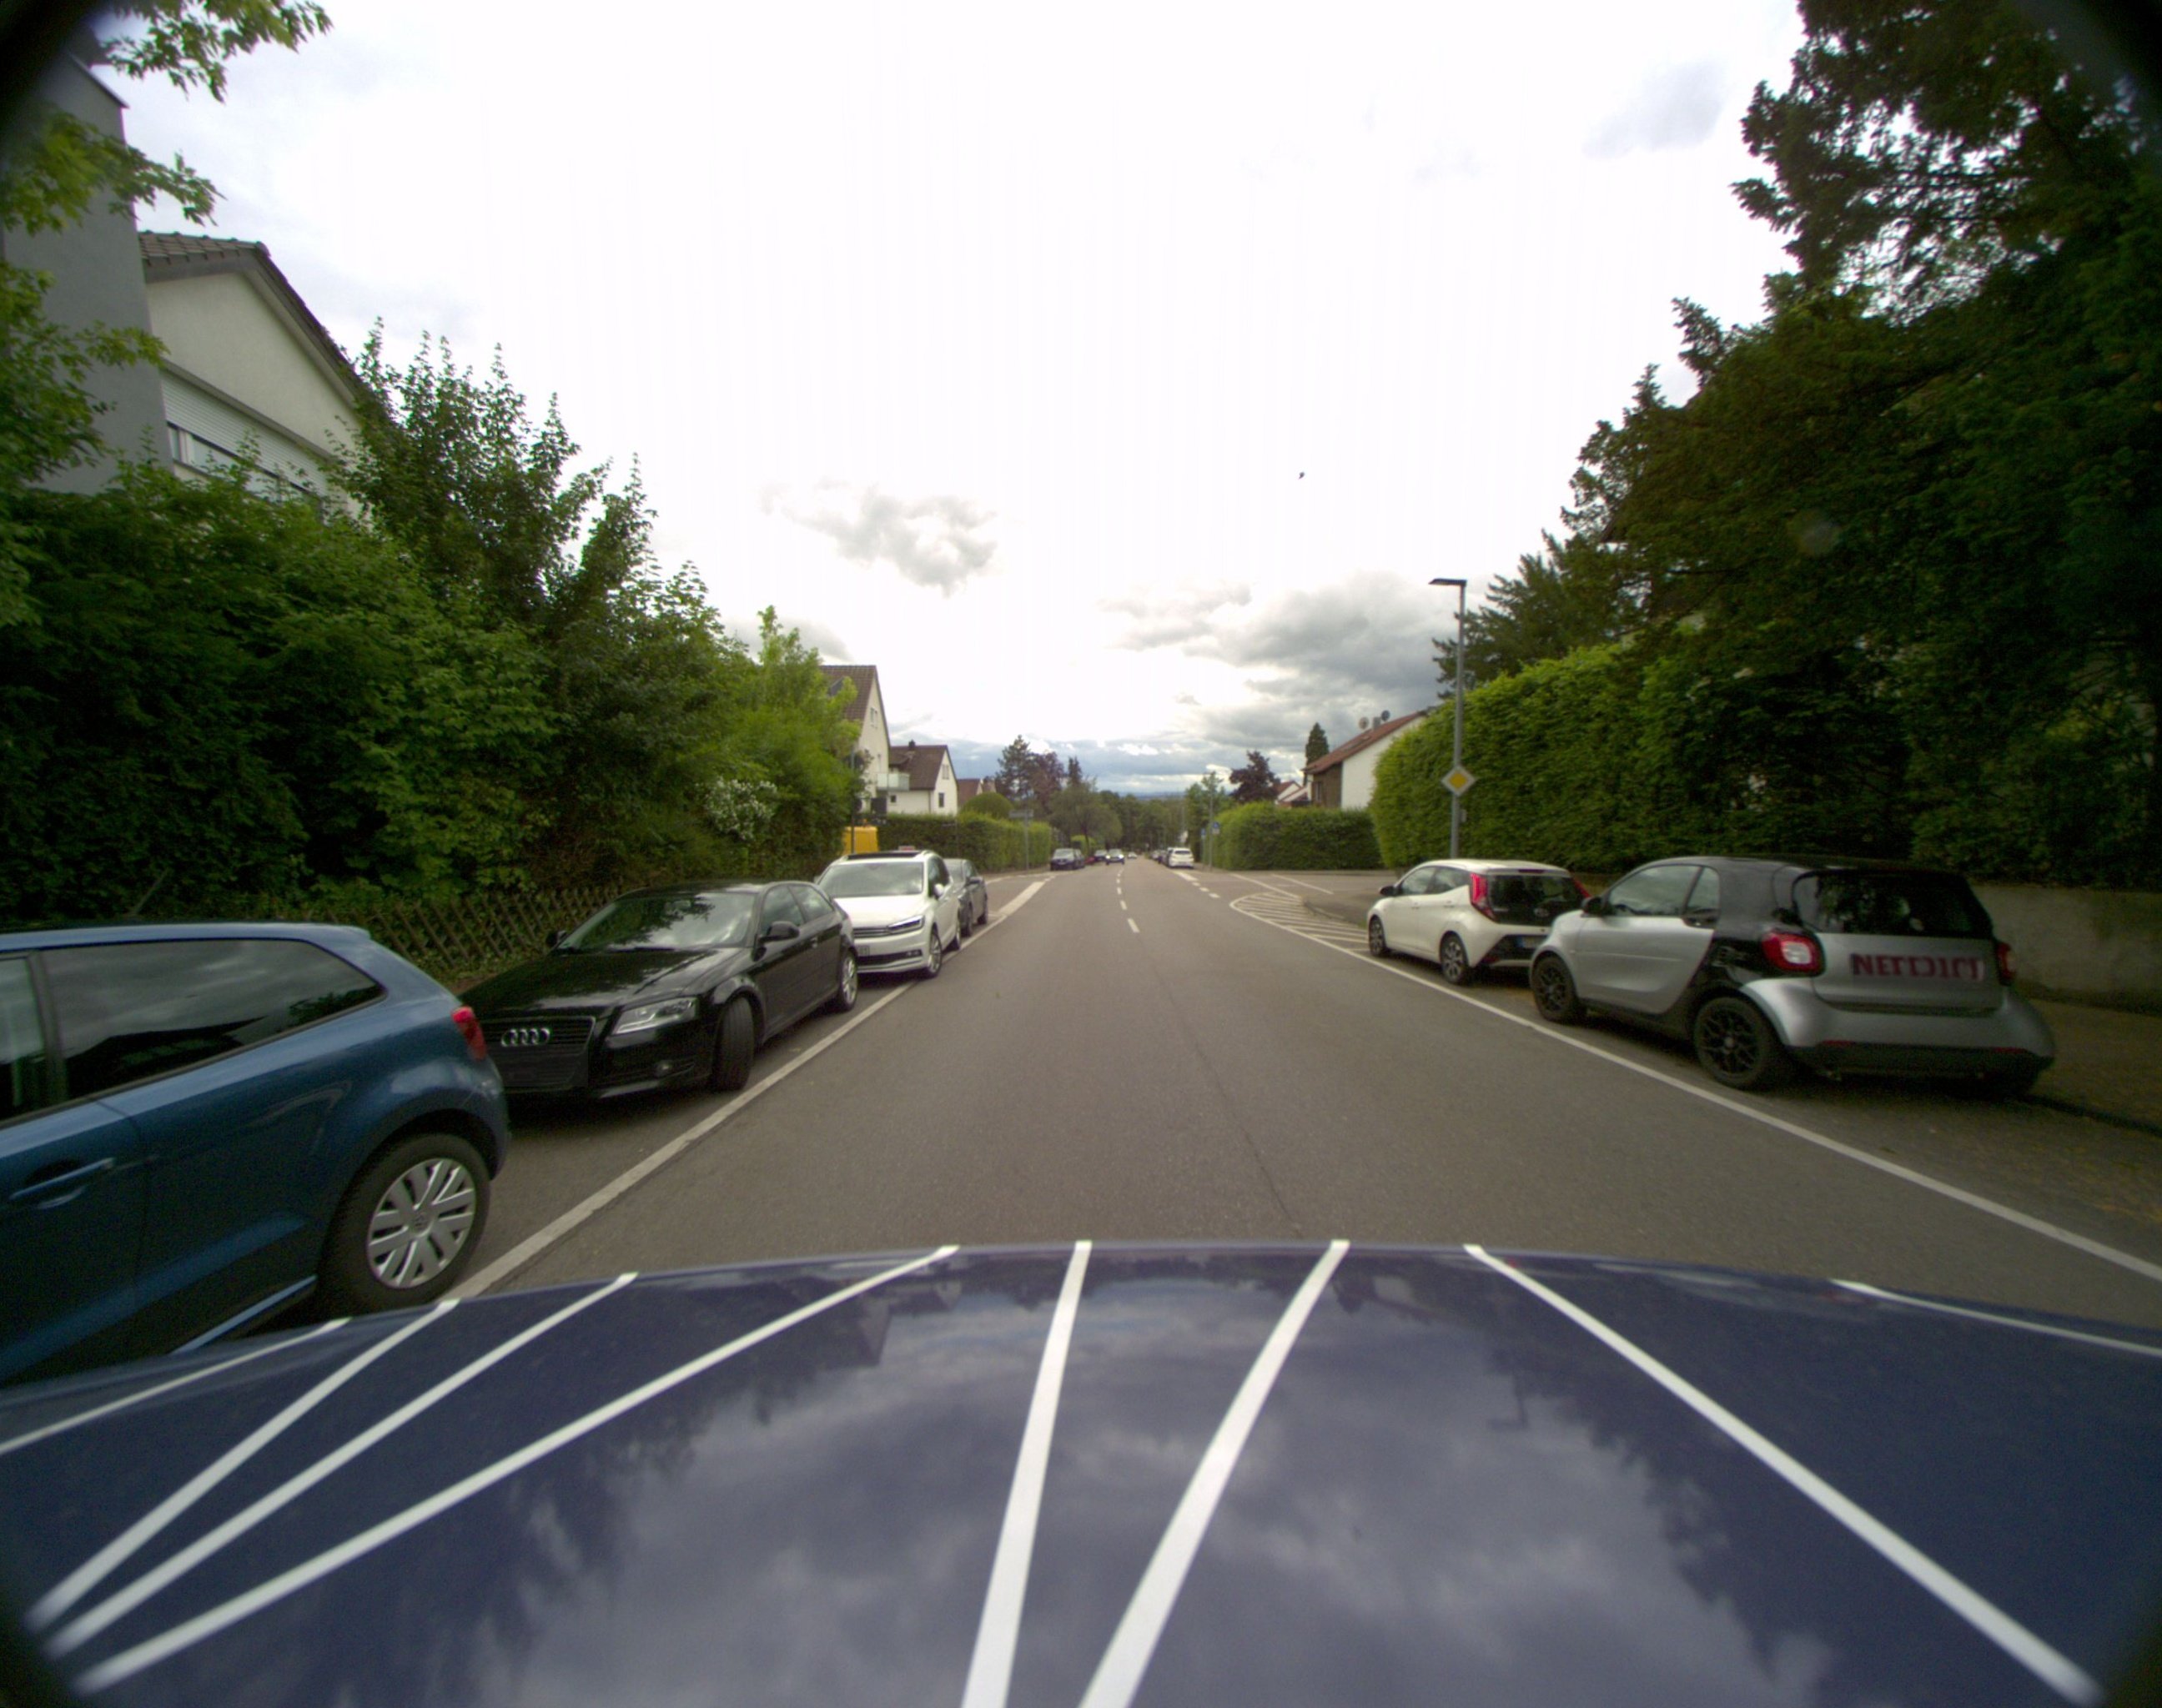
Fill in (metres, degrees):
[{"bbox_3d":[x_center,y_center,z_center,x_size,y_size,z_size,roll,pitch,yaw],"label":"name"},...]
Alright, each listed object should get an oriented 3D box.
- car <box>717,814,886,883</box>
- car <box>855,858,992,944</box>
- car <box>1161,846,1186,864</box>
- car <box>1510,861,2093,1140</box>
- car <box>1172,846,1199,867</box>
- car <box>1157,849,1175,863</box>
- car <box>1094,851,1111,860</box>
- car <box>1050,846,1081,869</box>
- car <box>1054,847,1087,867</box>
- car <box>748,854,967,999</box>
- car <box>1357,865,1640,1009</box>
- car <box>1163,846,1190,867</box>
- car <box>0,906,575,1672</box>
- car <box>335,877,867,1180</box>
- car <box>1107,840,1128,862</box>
[{"bbox_3d":[-11.017,-0.199,30.491,6.147,2.586,2.365,0,1,-15],"label":"car"},{"bbox_3d":[-3.092,0.861,15.912,1.942,1.483,4.456,0,0,0],"label":"car"},{"bbox_3d":[7.971,0.053,65.742,1.890,1.481,4.343,0,0,4],"label":"car"},{"bbox_3d":[4.942,0.856,5.821,1.628,1.510,2.975,0,1,0],"label":"car"},{"bbox_3d":[7.445,0.154,54.399,1.693,1.411,3.580,2,1,5],"label":"car"},{"bbox_3d":[9.482,0.194,84.999,1.944,1.540,4.007,0,0,4],"label":"car"},{"bbox_3d":[2.859,0.185,101.038,1.998,1.221,4.001,0,1,4],"label":"car"},{"bbox_3d":[-1.053,0.226,53.613,1.794,1.480,4.380,0,0,4],"label":"car"},{"bbox_3d":[-0.747,0.207,59.038,1.927,1.485,5.211,0,0,7],"label":"car"},{"bbox_3d":[-2.875,0.826,10.962,2.006,1.599,4.756,0,0,-3],"label":"car"},{"bbox_3d":[5.086,0.911,9.859,1.749,1.439,3.513,1,1,1],"label":"car"},{"bbox_3d":[7.453,0.179,59.560,1.785,1.481,4.739,3,1,4],"label":"car"},{"bbox_3d":[-3.196,1.034,1.323,1.702,1.499,4.160,-2,1,1],"label":"car"},{"bbox_3d":[-3.187,1.005,6.299,1.815,1.444,4.376,0,1,-3],"label":"car"},{"bbox_3d":[3.510,-0.332,73.253,1.998,2.002,4.000,0,1,3],"label":"car"}]
